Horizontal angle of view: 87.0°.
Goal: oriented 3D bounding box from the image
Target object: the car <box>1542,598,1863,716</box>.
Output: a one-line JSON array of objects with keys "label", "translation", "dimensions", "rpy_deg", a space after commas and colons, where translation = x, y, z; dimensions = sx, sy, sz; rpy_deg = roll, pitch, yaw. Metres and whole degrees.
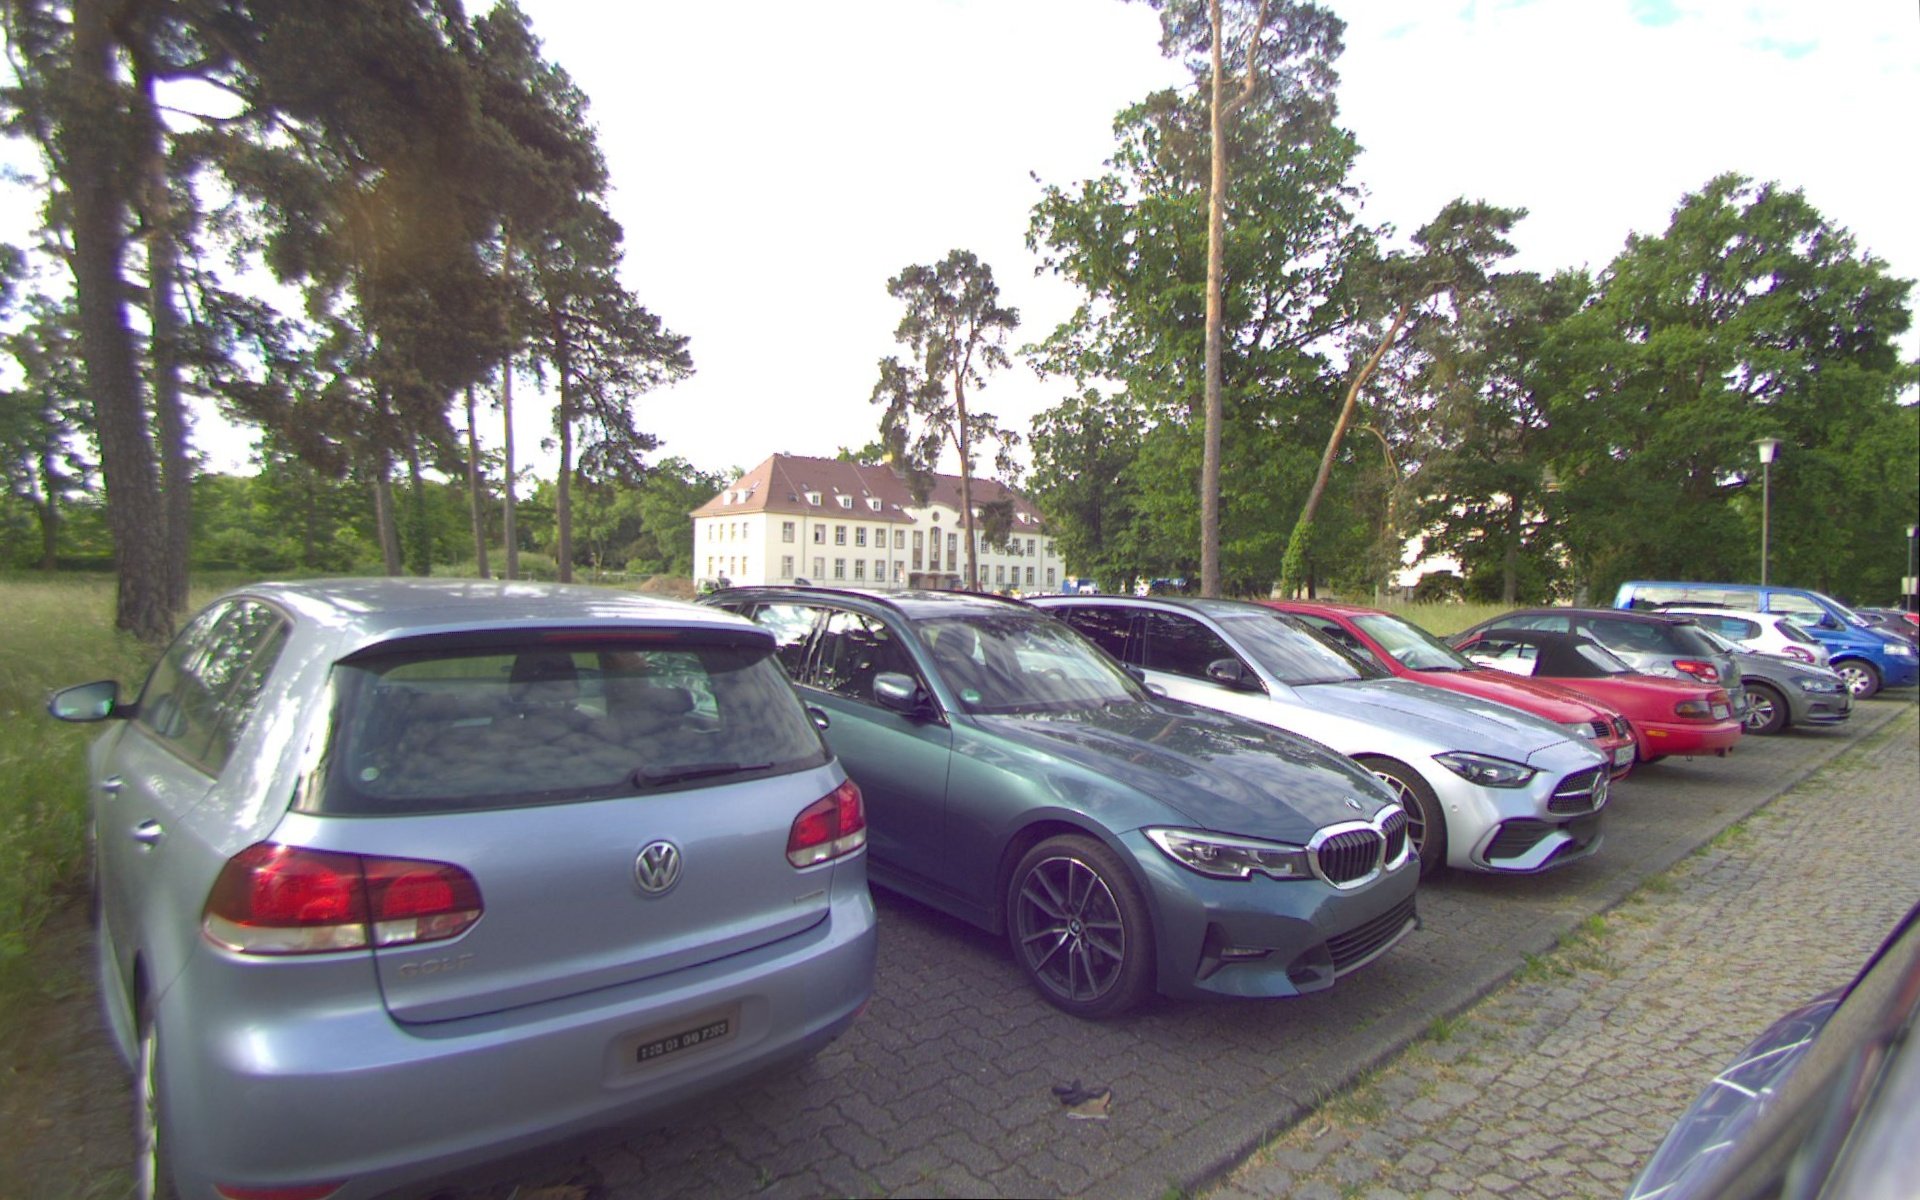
[{"label": "car", "translation": [11.419, 0.778, 15.767], "dimensions": [1.553, 1.518, 3.761], "rpy_deg": [1, 1, -40]}]

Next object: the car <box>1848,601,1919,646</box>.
[{"label": "car", "translation": [36.791, 0.901, 38.812], "dimensions": [1.552, 1.639, 3.839], "rpy_deg": [1, 1, -37]}]

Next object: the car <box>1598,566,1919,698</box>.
[{"label": "car", "translation": [15.380, 0.486, 19.345], "dimensions": [2.024, 2.047, 4.953], "rpy_deg": [1, 3, -41]}]

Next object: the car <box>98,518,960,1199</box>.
[{"label": "car", "translation": [-1.912, 0.568, 3.662], "dimensions": [1.614, 1.489, 3.846], "rpy_deg": [1, 1, -44]}]

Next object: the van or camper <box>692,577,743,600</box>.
[{"label": "van or camper", "translation": [-25.090, -1.223, 104.569], "dimensions": [6.060, 2.251, 1.970], "rpy_deg": [2, 1, 42]}]

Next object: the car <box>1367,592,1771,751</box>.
[{"label": "car", "translation": [7.081, 0.703, 12.066], "dimensions": [1.577, 1.522, 3.834], "rpy_deg": [1, 1, -42]}]

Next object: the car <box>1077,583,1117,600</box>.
[{"label": "car", "translation": [14.162, -0.865, 104.578], "dimensions": [3.865, 1.704, 1.847], "rpy_deg": [0, 2, -39]}]

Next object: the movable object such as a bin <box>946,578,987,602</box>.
[{"label": "movable object such as a bin", "translation": [0.763, -1.198, 122.303], "dimensions": [1.993, 2.802, 5.123], "rpy_deg": [1, 1, 43]}]

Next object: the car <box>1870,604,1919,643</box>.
[{"label": "car", "translation": [40.293, 0.999, 41.734], "dimensions": [1.642, 1.548, 3.839], "rpy_deg": [1, 1, -37]}]

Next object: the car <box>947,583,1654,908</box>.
[{"label": "car", "translation": [2.004, 0.668, 7.010], "dimensions": [1.737, 1.446, 4.332], "rpy_deg": [1, 2, -43]}]

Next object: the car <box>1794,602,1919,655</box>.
[{"label": "car", "translation": [29.007, 0.875, 32.095], "dimensions": [1.555, 1.544, 3.830], "rpy_deg": [1, 1, -45]}]

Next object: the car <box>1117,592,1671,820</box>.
[{"label": "car", "translation": [3.502, 0.690, 8.811], "dimensions": [1.689, 1.441, 4.115], "rpy_deg": [1, 1, -41]}]

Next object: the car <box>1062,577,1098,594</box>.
[{"label": "car", "translation": [14.673, -1.748, 123.296], "dimensions": [3.926, 2.039, 2.219], "rpy_deg": [1, 1, -37]}]

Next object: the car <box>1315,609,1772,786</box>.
[{"label": "car", "translation": [5.527, 0.804, 9.919], "dimensions": [1.579, 1.303, 3.553], "rpy_deg": [2, 0, -40]}]

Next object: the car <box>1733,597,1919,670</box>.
[{"label": "car", "translation": [21.659, 0.779, 25.061], "dimensions": [1.555, 1.621, 3.830], "rpy_deg": [1, 1, -45]}]

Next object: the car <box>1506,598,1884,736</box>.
[{"label": "car", "translation": [9.605, 0.765, 13.464], "dimensions": [1.613, 1.484, 3.780], "rpy_deg": [1, 1, -40]}]

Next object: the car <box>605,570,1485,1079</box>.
[{"label": "car", "translation": [0.005, 0.622, 5.264], "dimensions": [1.778, 1.502, 4.517], "rpy_deg": [1, 1, -44]}]
